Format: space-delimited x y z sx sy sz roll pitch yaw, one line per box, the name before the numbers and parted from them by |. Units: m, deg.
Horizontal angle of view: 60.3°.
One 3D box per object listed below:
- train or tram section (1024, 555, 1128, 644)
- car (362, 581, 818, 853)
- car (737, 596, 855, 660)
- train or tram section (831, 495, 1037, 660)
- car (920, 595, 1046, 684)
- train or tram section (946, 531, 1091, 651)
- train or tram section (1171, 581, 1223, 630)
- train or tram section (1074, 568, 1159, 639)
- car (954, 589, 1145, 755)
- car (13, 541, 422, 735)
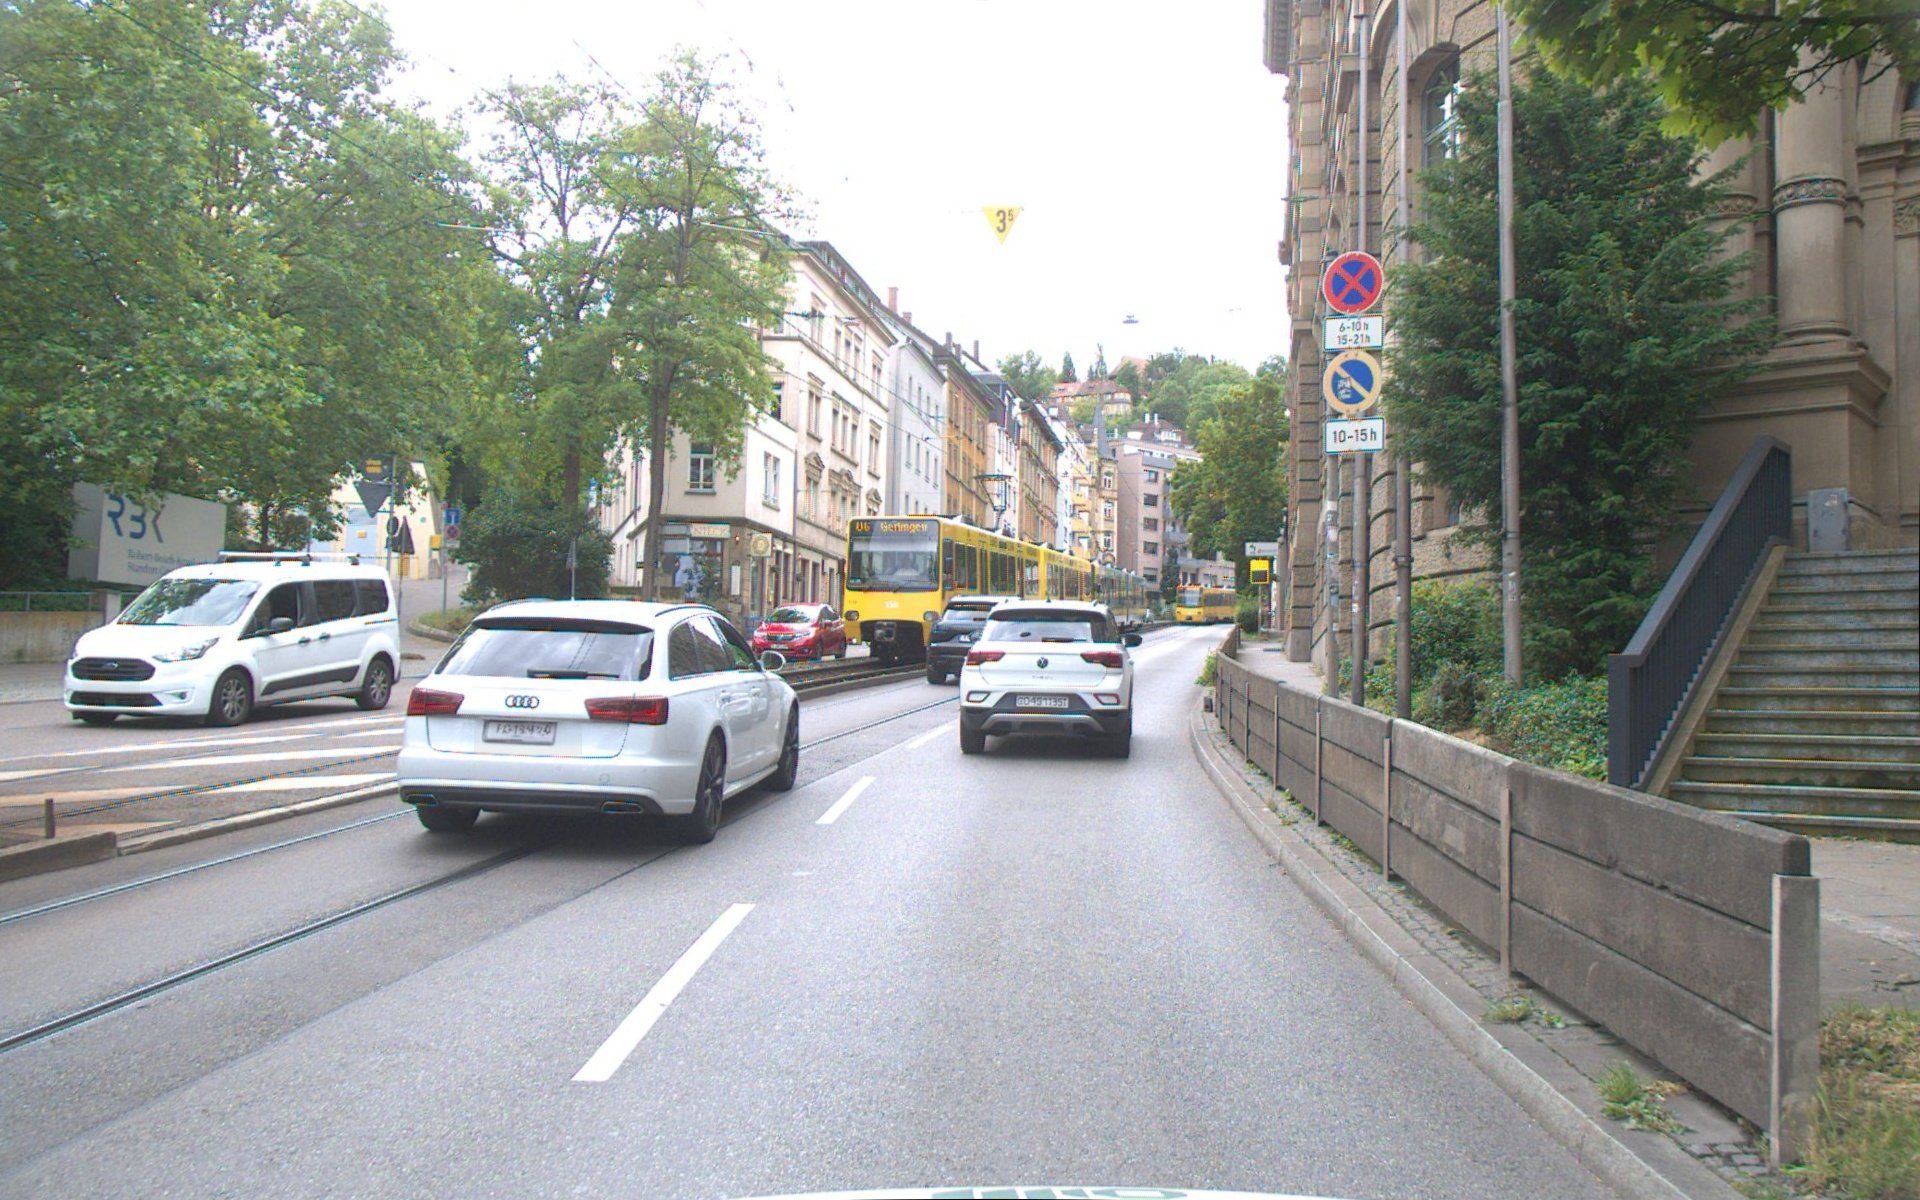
train or tram section | 5.991 0.119 81.299 2.815 3.791 18.771 2 -1 11
car | -2.262 0.654 11.499 1.839 1.480 4.619 1 0 4
car | -4.127 0.707 42.347 1.951 1.530 4.002 1 -1 10
train or tram section | -0.292 -0.434 46.313 2.821 3.791 14.867 2 -1 10
car | 0.530 0.751 32.348 1.994 1.599 4.361 1 -1 7
train or tram section | 2.625 -0.167 62.863 2.815 3.791 18.717 2 -1 10
train or tram section | 22.173 0.649 153.997 2.952 4.288 18.872 1 -1 14
train or tram section | 9.662 0.354 99.698 2.815 3.791 18.771 2 -1 12
car | 1.045 0.722 18.037 1.839 1.582 4.002 1 -1 5
car | -8.504 0.396 19.577 1.906 1.980 5.006 1 0 10
